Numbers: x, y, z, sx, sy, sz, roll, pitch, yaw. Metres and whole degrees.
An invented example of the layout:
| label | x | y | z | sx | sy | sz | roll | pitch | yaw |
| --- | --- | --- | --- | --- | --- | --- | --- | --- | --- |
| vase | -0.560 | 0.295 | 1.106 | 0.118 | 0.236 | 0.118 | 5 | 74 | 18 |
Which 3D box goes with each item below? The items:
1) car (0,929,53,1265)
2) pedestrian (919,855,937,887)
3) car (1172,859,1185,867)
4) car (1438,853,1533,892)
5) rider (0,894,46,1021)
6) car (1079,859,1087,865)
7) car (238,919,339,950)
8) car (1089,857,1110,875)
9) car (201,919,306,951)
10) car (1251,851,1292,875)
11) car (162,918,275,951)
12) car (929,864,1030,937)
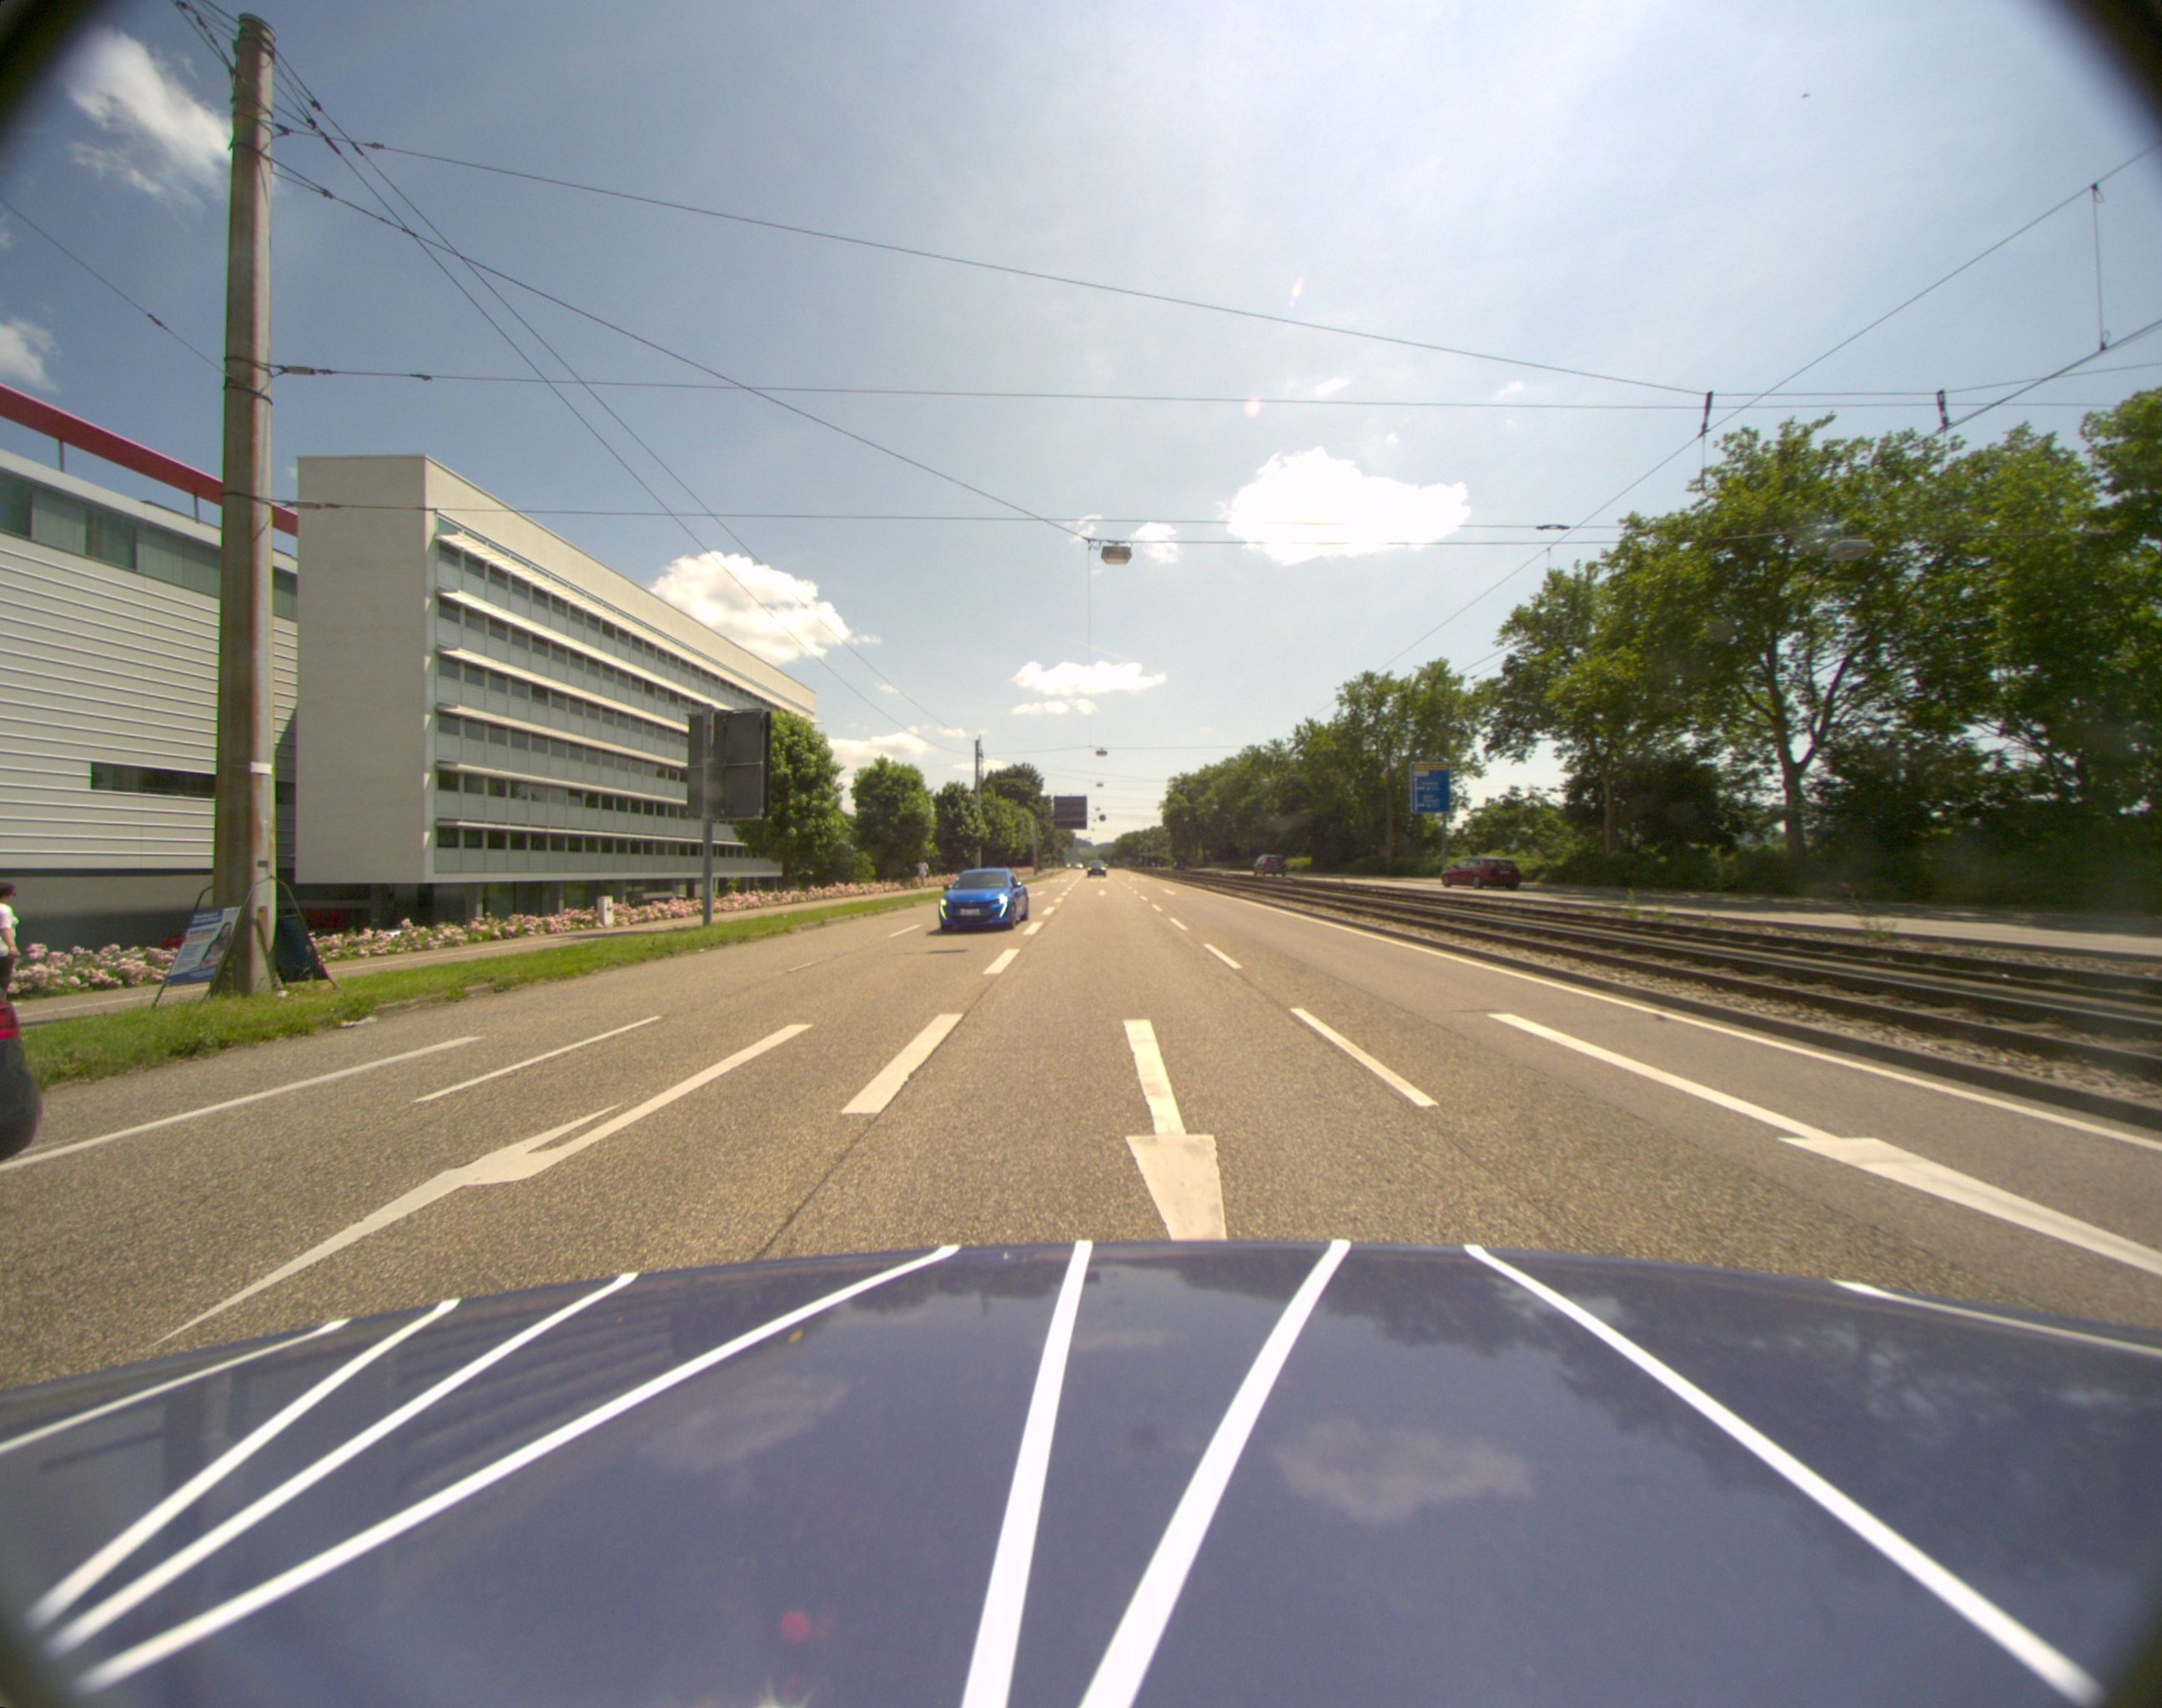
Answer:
| label | x | y | z | sx | sy | sz | roll | pitch | yaw |
| --- | --- | --- | --- | --- | --- | --- | --- | --- | --- |
| car | -5.945 | 1.131 | 1.635 | 1.765 | 1.517 | 4.100 | -1 | 0 | 4 |
| pedestrian | -8.963 | 1.006 | 44.519 | 0.758 | 1.838 | 0.931 | -2 | 0 | 3 |
| car | 18.582 | 1.657 | 144.696 | 1.803 | 1.495 | 4.735 | 1 | 0 | -1 |
| car | 18.688 | 0.822 | 35.370 | 1.999 | 1.660 | 4.468 | 1 | 0 | -1 |
| rider | -12.793 | 1.212 | 8.810 | 0.671 | 1.449 | 0.618 | -2 | 1 | 1 |
| car | 0.454 | 1.936 | 179.644 | 1.896 | 1.331 | 4.000 | -2 | 0 | 1 |
| car | -45.871 | 4.634 | 44.127 | 1.609 | 1.314 | 4.000 | -2 | 0 | 1 |
| car | 1.700 | 1.098 | 72.282 | 1.898 | 1.564 | 4.511 | -1 | 0 | 1 |
| car | -48.223 | 4.708 | 44.407 | 1.648 | 1.377 | 4.000 | -2 | 0 | 1 |
| car | 15.498 | 0.750 | 61.975 | 1.999 | 1.820 | 4.969 | 1 | 0 | -1 |
| car | -50.778 | 4.727 | 44.864 | 1.998 | 1.438 | 4.000 | -2 | 0 | 1 |
| car | -2.386 | 1.059 | 18.892 | 1.842 | 1.446 | 4.000 | -2 | 1 | 1 |
